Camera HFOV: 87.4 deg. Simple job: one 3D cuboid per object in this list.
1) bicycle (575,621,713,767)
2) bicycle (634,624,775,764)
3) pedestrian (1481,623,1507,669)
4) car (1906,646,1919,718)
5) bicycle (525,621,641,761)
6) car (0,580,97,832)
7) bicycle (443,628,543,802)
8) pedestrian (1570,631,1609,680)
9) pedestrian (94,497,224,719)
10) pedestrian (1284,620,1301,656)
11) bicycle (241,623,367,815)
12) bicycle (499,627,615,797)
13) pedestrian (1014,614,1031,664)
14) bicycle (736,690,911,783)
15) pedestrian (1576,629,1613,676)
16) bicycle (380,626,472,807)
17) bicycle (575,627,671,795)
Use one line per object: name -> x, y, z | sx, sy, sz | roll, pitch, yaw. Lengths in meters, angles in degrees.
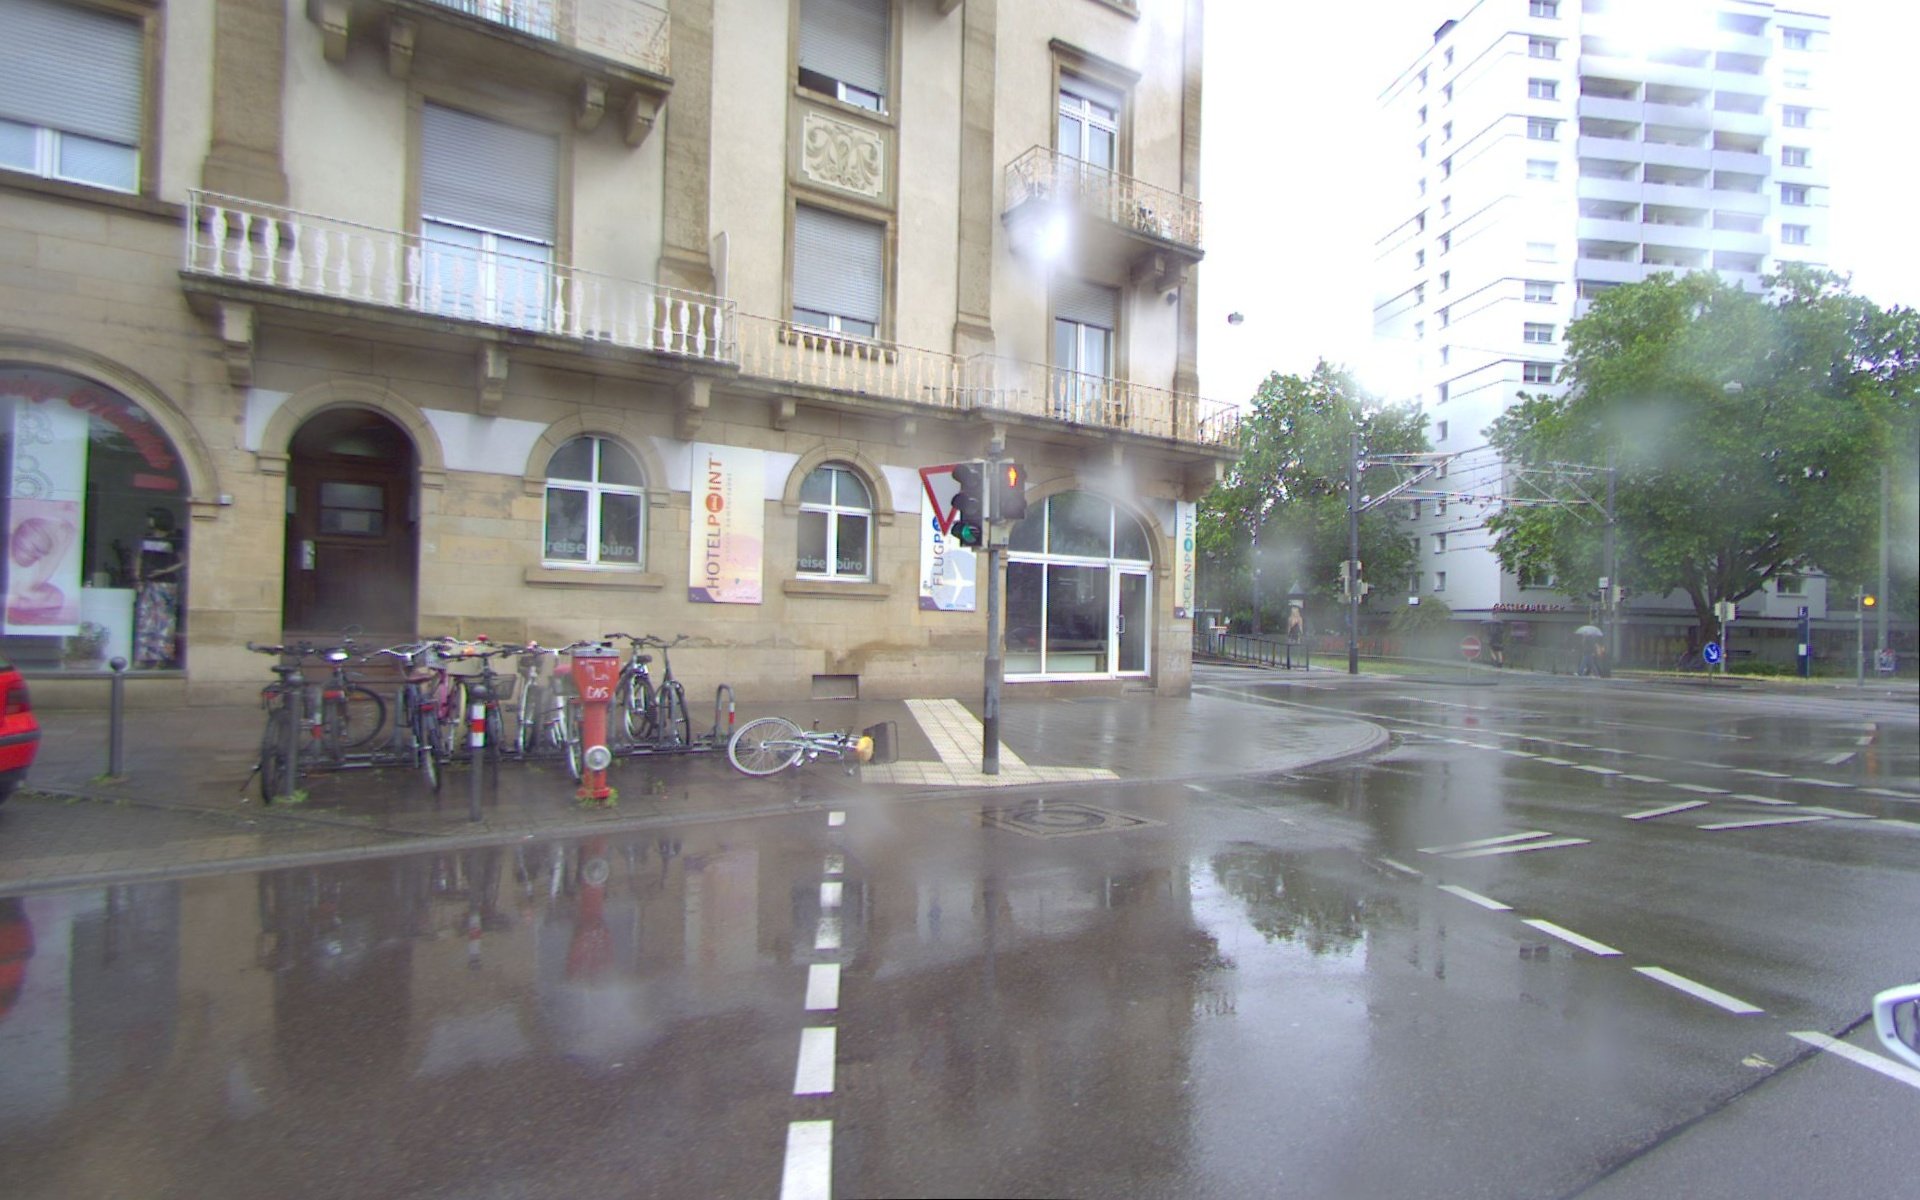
bicycle -> -3.368, 0.912, 10.560 | 0.634, 1.364, 2.323 | 2, -2, -37
bicycle -> -2.824, 0.958, 10.898 | 0.634, 1.364, 2.324 | 2, -3, -37
pedestrian -> 21.846, 1.884, 41.098 | 0.628, 1.862, 0.678 | 1, -2, -9
car -> 22.612, 1.823, 22.162 | 3.739, 1.567, 1.733 | 2, -3, -33
bicycle -> -4.100, 0.922, 10.837 | 0.579, 1.364, 2.041 | 2, -2, -37
car -> -7.933, 0.569, 6.261 | 3.919, 1.528, 1.804 | 3, 1, 11
bicycle -> -3.991, 0.906, 8.520 | 0.463, 1.200, 1.798 | 2, 2, -34
pedestrian -> 21.661, 1.911, 34.578 | 0.744, 1.670, 0.835 | 1, -2, -17
pedestrian -> -8.912, 0.106, 11.214 | 0.750, 2.370, 0.847 | 1, -1, -10
pedestrian -> 19.433, 2.207, 58.726 | 0.626, 2.105, 0.701 | 1, -1, -13
bicycle -> -5.104, 0.852, 7.906 | 0.592, 1.200, 1.803 | 2, 2, -26
bicycle -> -3.569, 0.907, 8.797 | 0.470, 1.200, 1.966 | 2, 2, -35
pedestrian -> 2.286, 1.418, 36.647 | 0.490, 1.803, 0.611 | 1, -1, -8
bicycle -> -1.309, 1.305, 9.888 | 1.023, 0.672, 1.477 | 3, -1, 27
pedestrian -> 23.077, 1.893, 36.529 | 0.802, 1.670, 0.793 | 1, -2, -8
bicycle -> -4.427, 0.885, 8.265 | 0.470, 1.200, 1.799 | 2, 2, -33
bicycle -> -3.092, 0.925, 9.110 | 0.432, 1.347, 1.967 | 2, -2, -30
